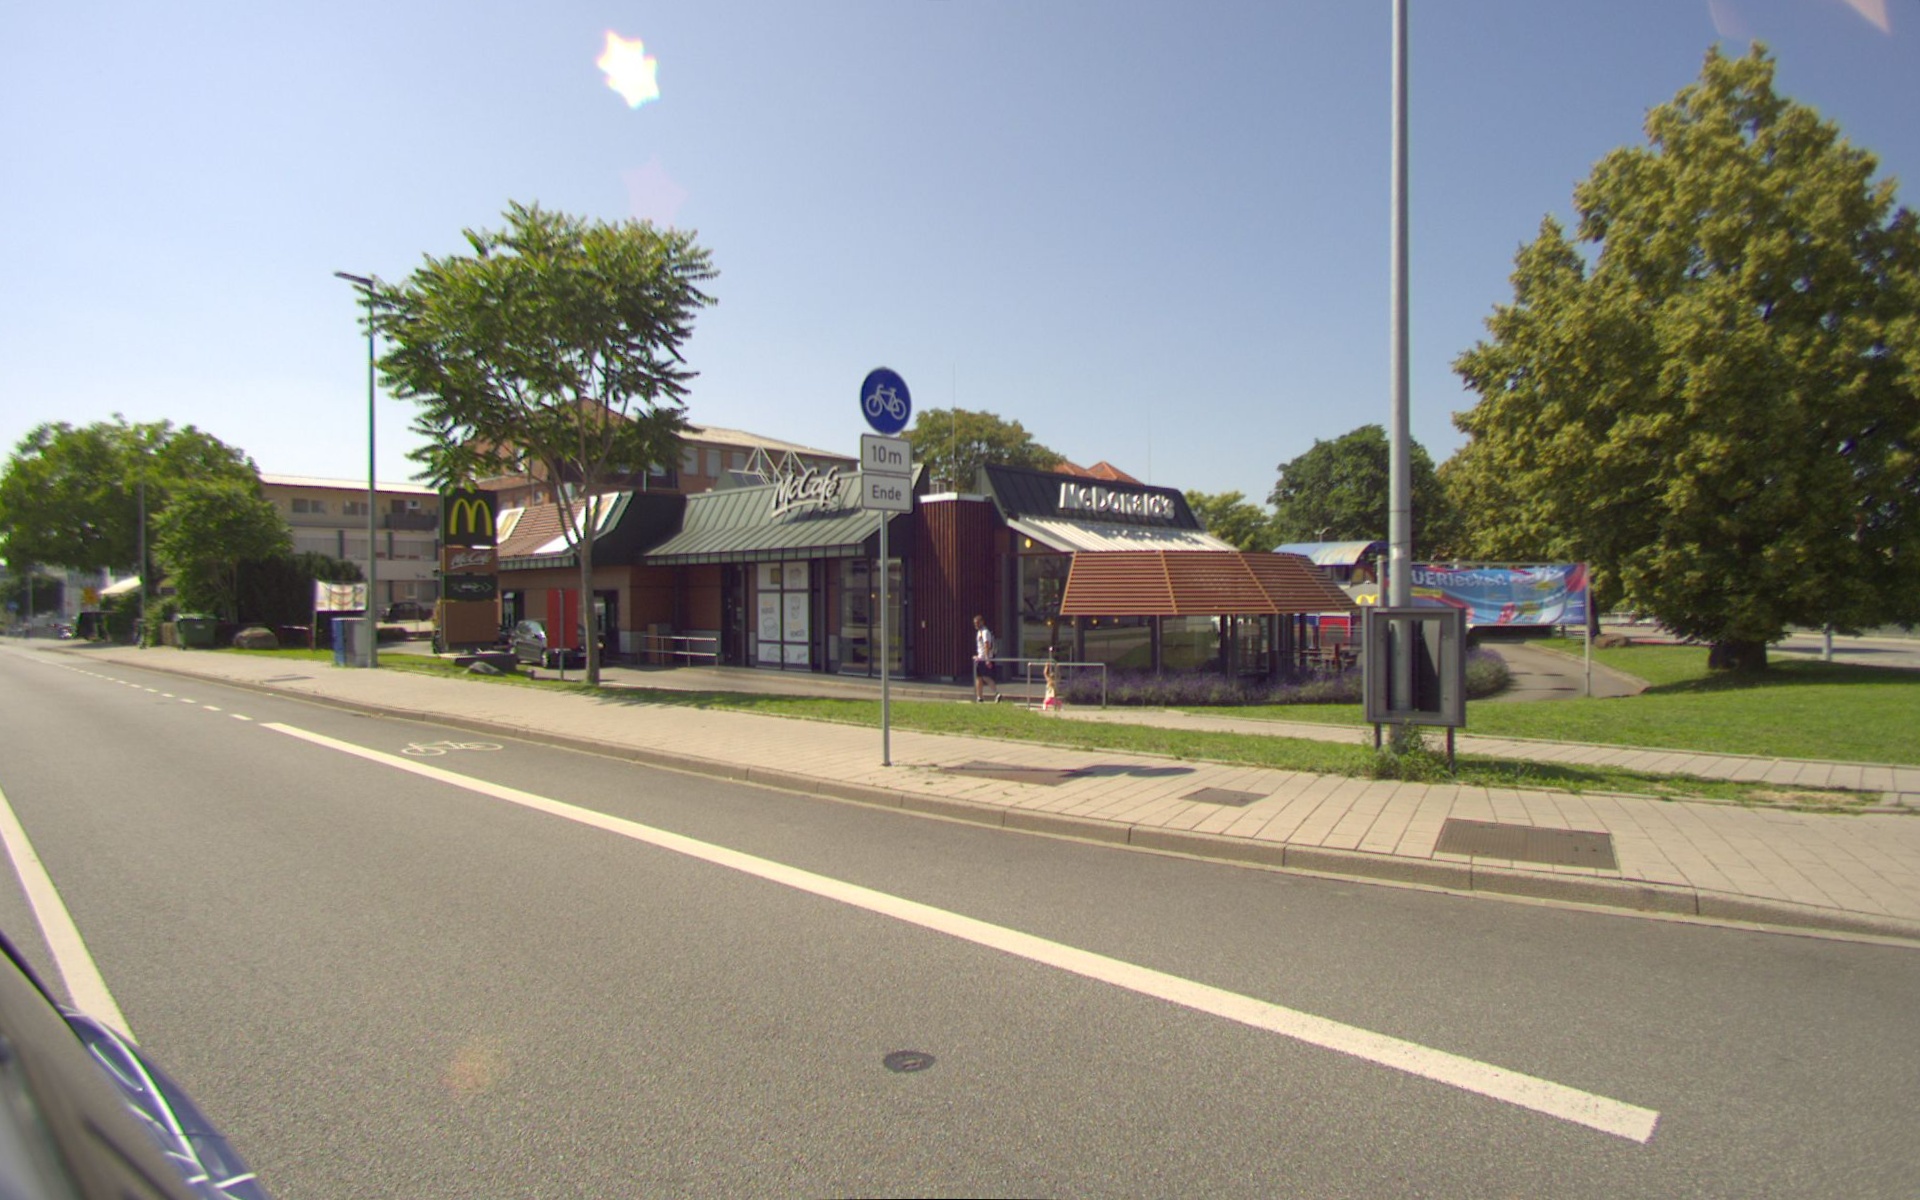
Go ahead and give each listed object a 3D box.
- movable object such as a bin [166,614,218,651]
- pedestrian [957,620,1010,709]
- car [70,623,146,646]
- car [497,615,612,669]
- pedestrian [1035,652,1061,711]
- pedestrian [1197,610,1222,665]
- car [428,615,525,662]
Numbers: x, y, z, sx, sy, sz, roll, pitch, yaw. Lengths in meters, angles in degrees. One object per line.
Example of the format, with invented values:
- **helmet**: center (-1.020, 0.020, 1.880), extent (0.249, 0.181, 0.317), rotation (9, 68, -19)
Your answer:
- **movable object such as a bin**: center (-31.240, 1.305, 41.166), extent (1.456, 1.422, 1.448), rotation (-1, 0, 43)
- **pedestrian**: center (0.481, 1.303, 20.854), extent (0.890, 1.771, 0.631), rotation (-1, -1, 33)
- **car**: center (-56.778, 2.274, 67.475), extent (3.848, 1.408, 1.654), rotation (0, 0, -42)
- **car**: center (-12.740, 1.260, 31.697), extent (4.190, 1.564, 1.839), rotation (-1, 0, 45)
- **pedestrian**: center (1.542, 1.425, 17.790), extent (0.378, 1.005, 0.508), rotation (-1, 0, 13)
- **pedestrian**: center (9.370, 1.407, 37.965), extent (0.829, 2.029, 0.748), rotation (-1, 0, 21)
- **car**: center (-17.451, 1.343, 36.450), extent (4.190, 1.564, 1.839), rotation (-1, 0, 45)
